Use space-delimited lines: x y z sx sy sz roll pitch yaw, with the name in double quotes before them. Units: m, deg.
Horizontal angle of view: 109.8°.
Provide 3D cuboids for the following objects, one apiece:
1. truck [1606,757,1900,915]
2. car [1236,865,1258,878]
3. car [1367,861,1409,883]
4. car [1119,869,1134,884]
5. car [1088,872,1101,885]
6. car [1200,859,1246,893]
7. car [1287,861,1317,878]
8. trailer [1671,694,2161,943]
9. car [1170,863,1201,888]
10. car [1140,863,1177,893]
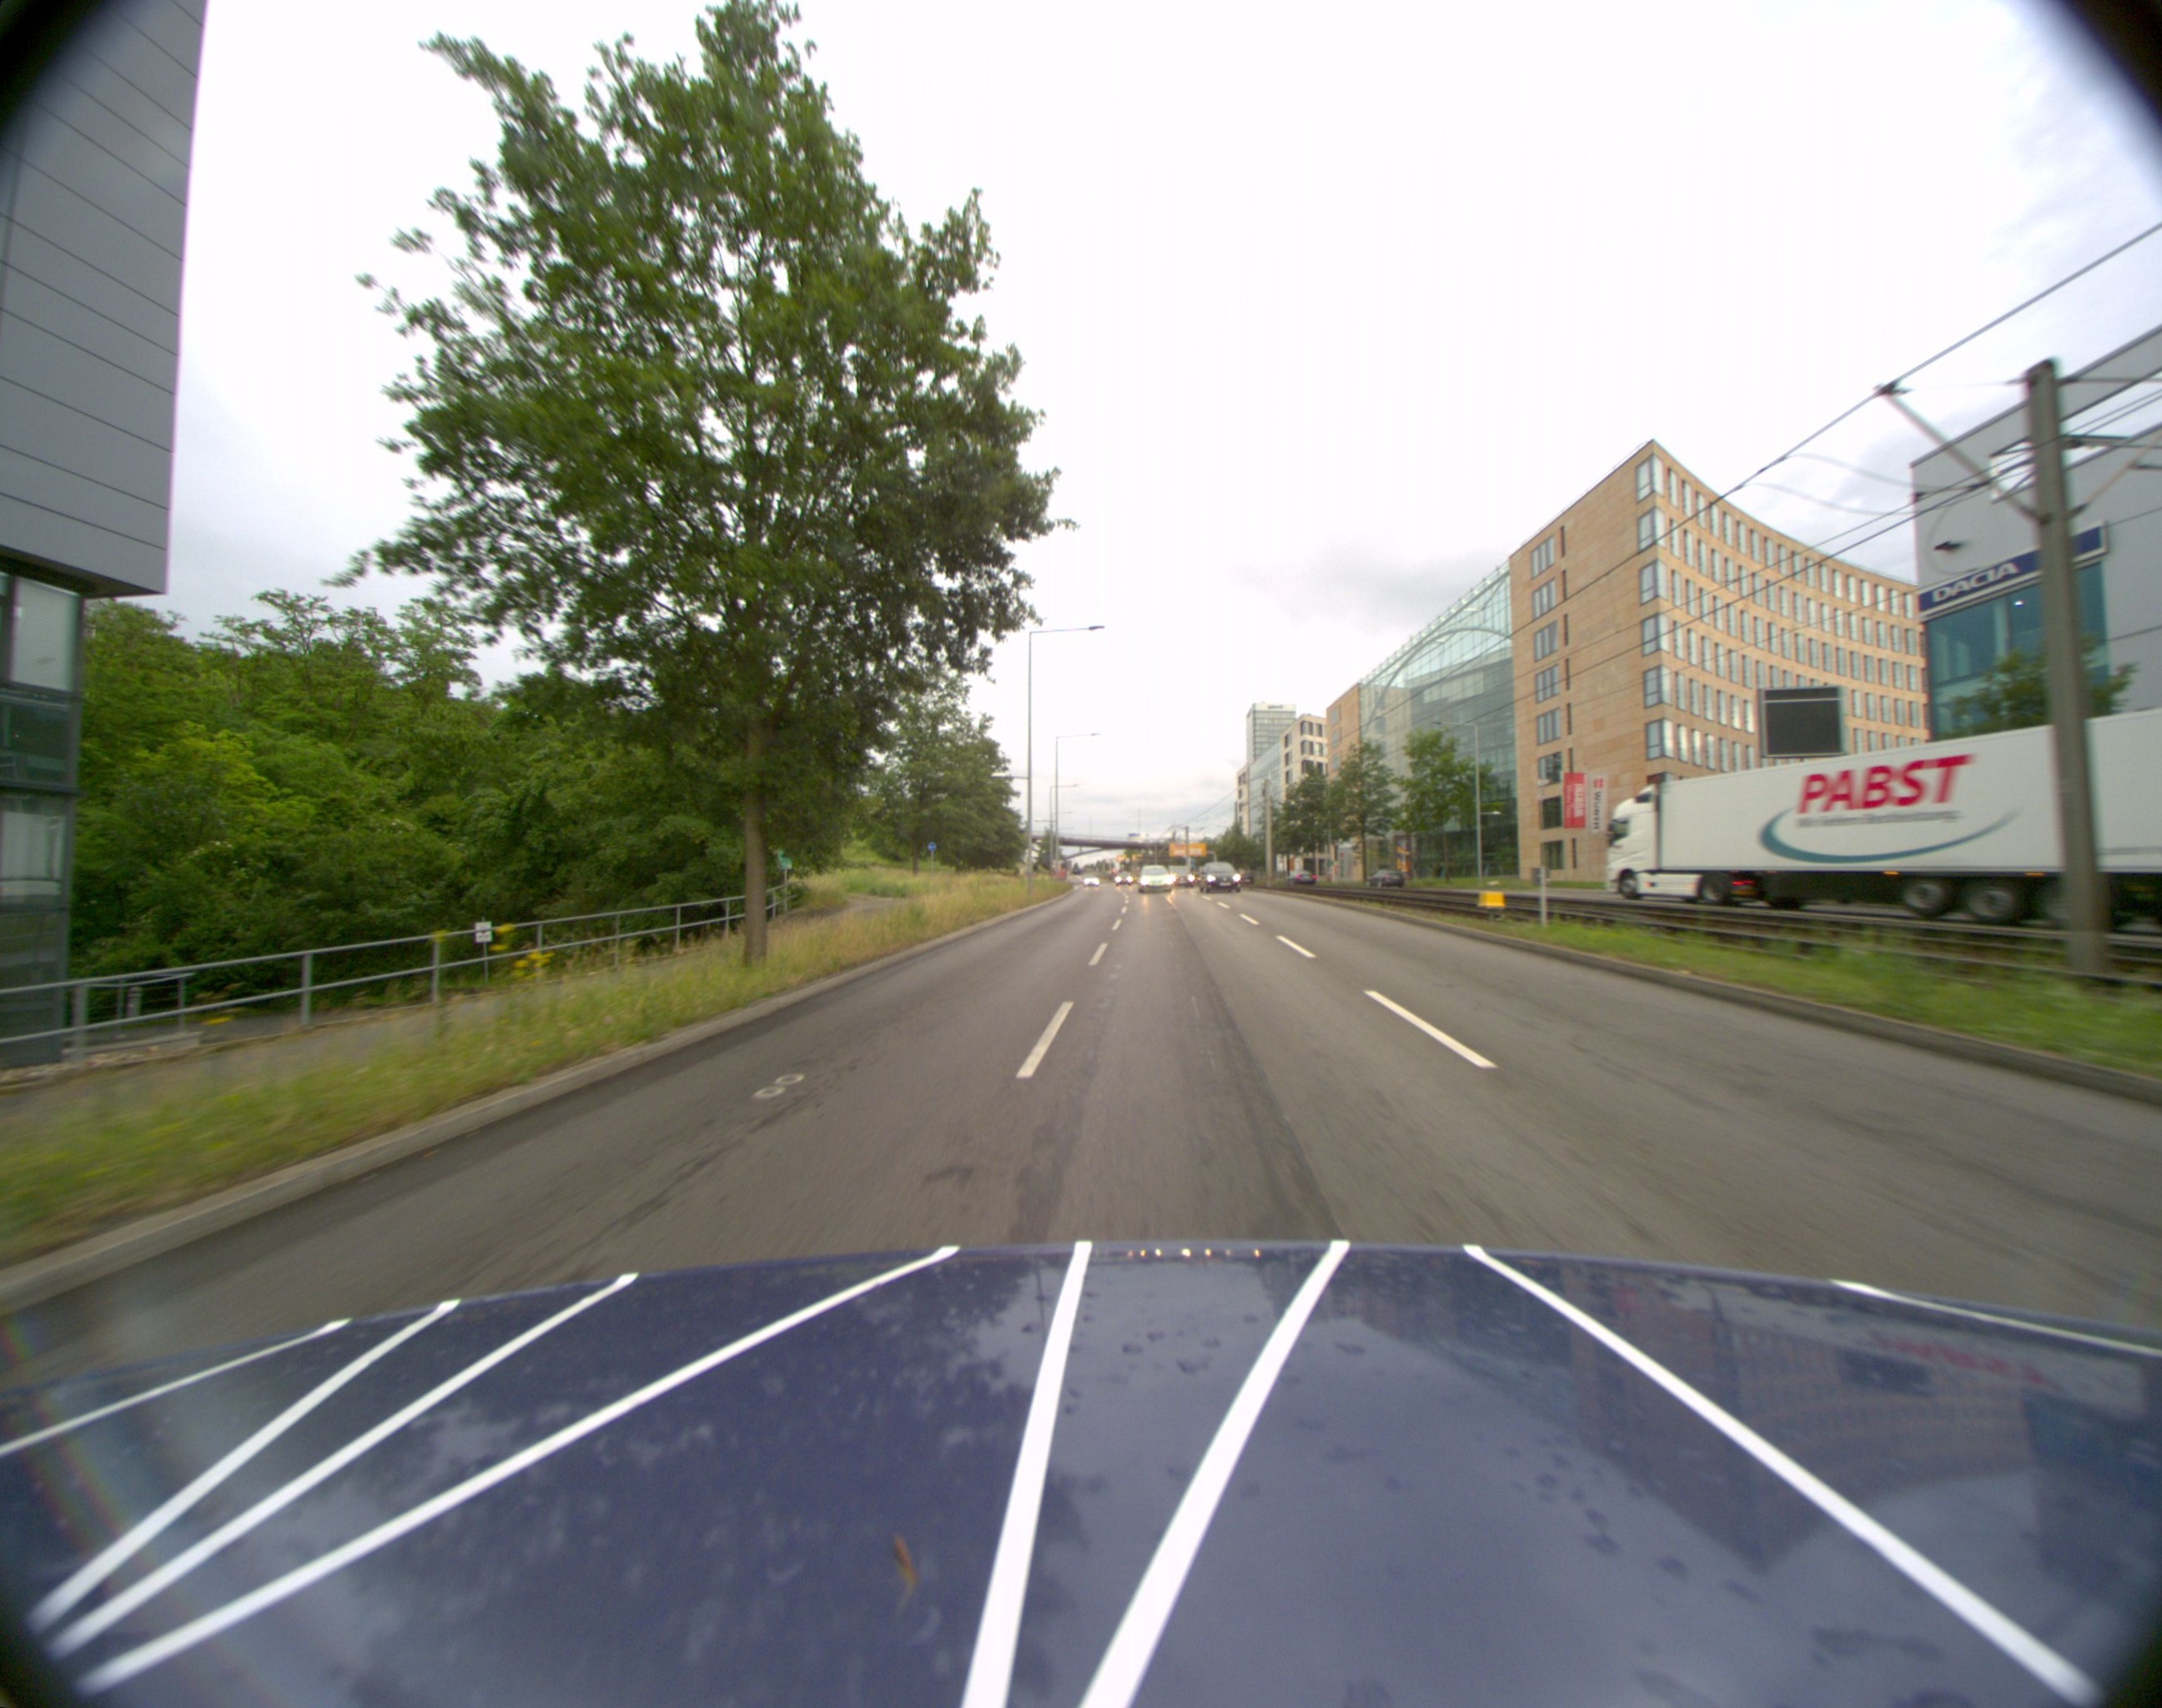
"truck" 20.605 -0.483 24.081 3.143 4.219 7.029 1 0 2
"car" 18.958 1.968 86.782 1.688 1.428 4.100 -2 0 2
"car" 24.198 1.419 60.012 1.630 1.608 4.000 -2 0 0
"car" 5.530 2.686 92.167 1.758 1.649 4.339 -2 0 3
"car" 1.714 3.107 97.004 1.518 1.495 3.168 -2 0 1
"car" 7.067 1.068 38.099 1.704 1.523 3.827 -2 0 3
"car" 20.366 1.444 70.190 1.688 1.428 4.100 -2 0 3
"trailer" 20.440 -0.572 17.840 3.141 4.304 13.283 1 0 2
"car" 7.527 1.503 55.102 1.786 1.597 4.318 -3 0 2
"car" 4.314 1.301 42.787 1.704 1.523 4.371 -2 0 2
